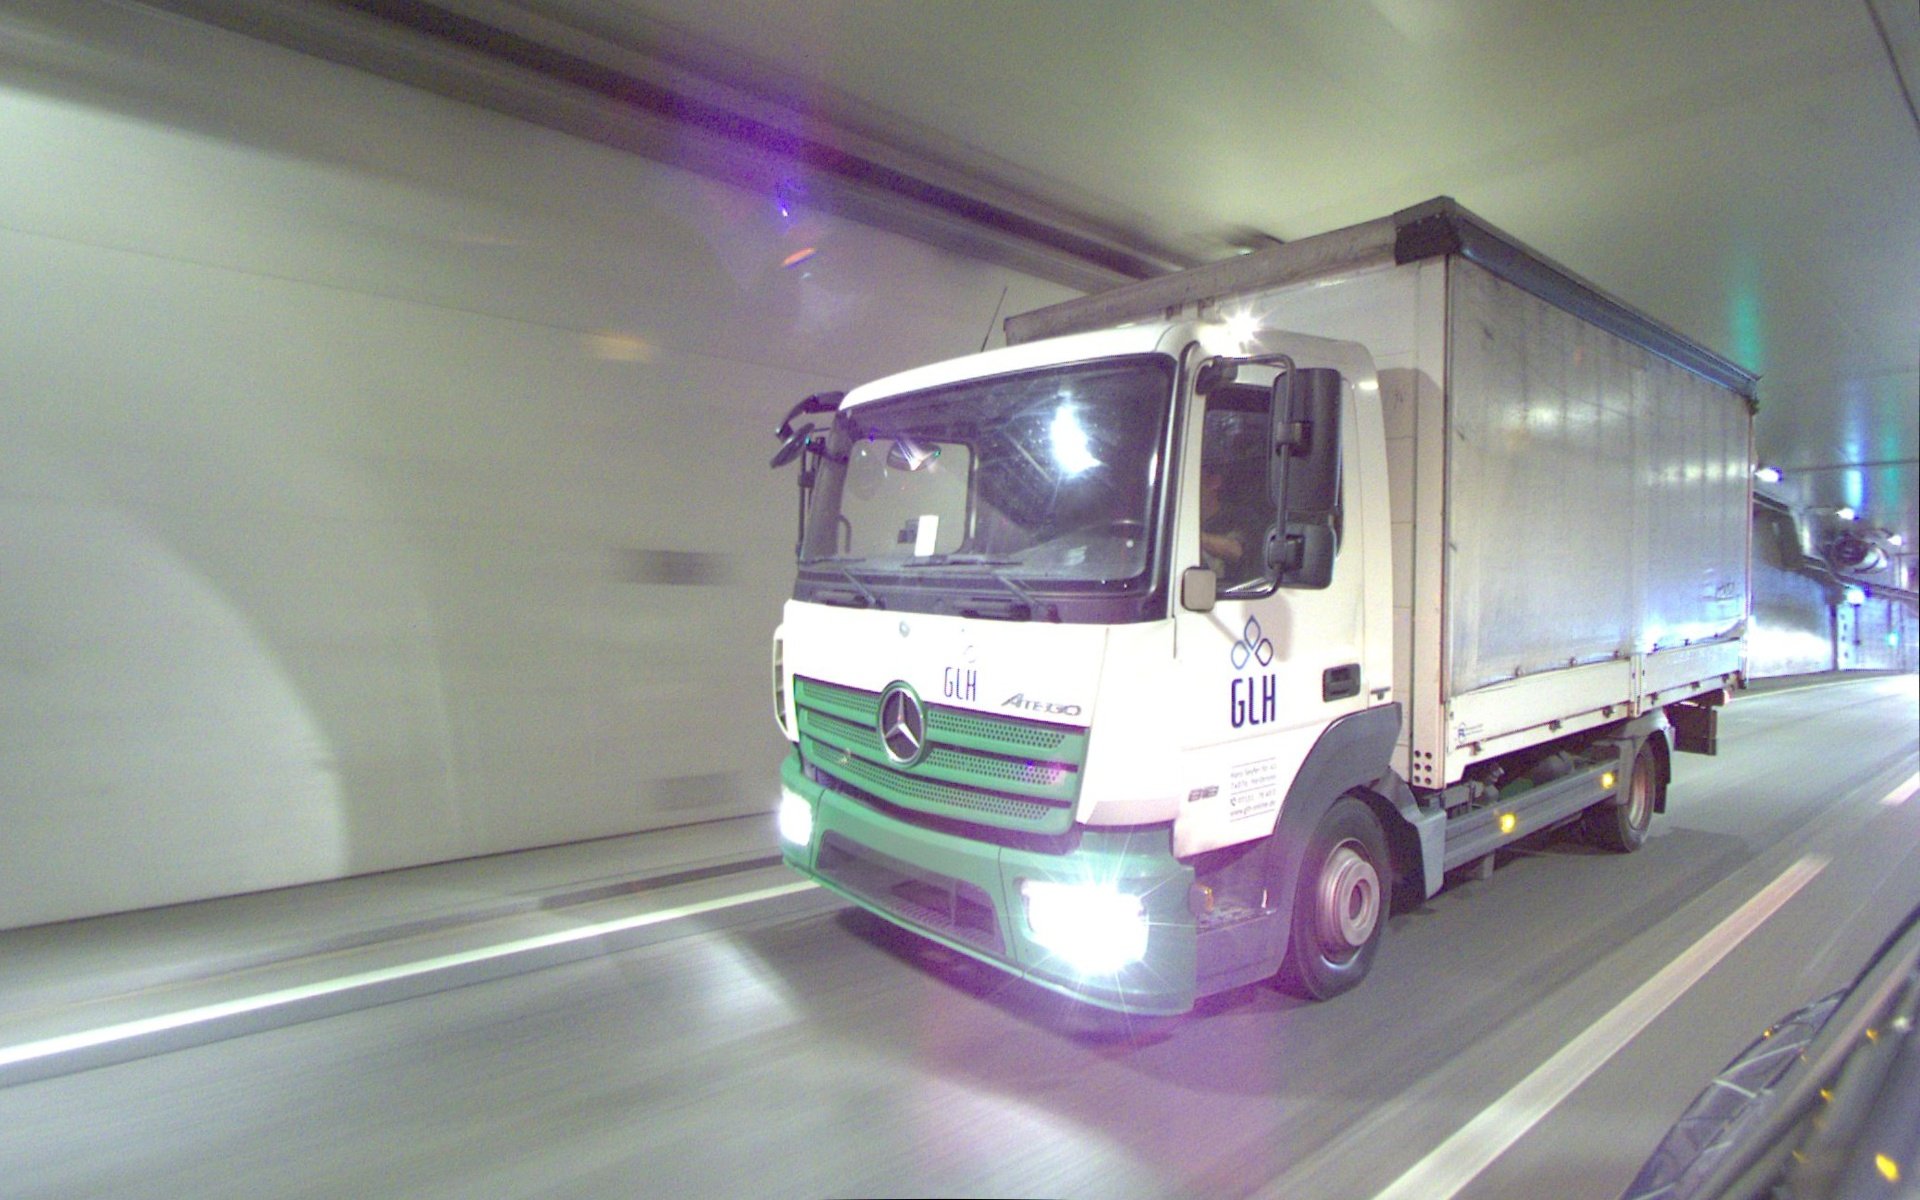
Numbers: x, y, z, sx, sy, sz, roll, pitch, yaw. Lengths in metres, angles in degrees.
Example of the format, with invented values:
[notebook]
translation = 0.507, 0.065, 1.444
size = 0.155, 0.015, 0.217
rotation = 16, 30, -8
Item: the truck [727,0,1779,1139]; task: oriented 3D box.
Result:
[truck]
translation = 2.459, -0.123, 6.033
size = 7.117, 3.222, 2.558
rotation = 1, -1, -41
